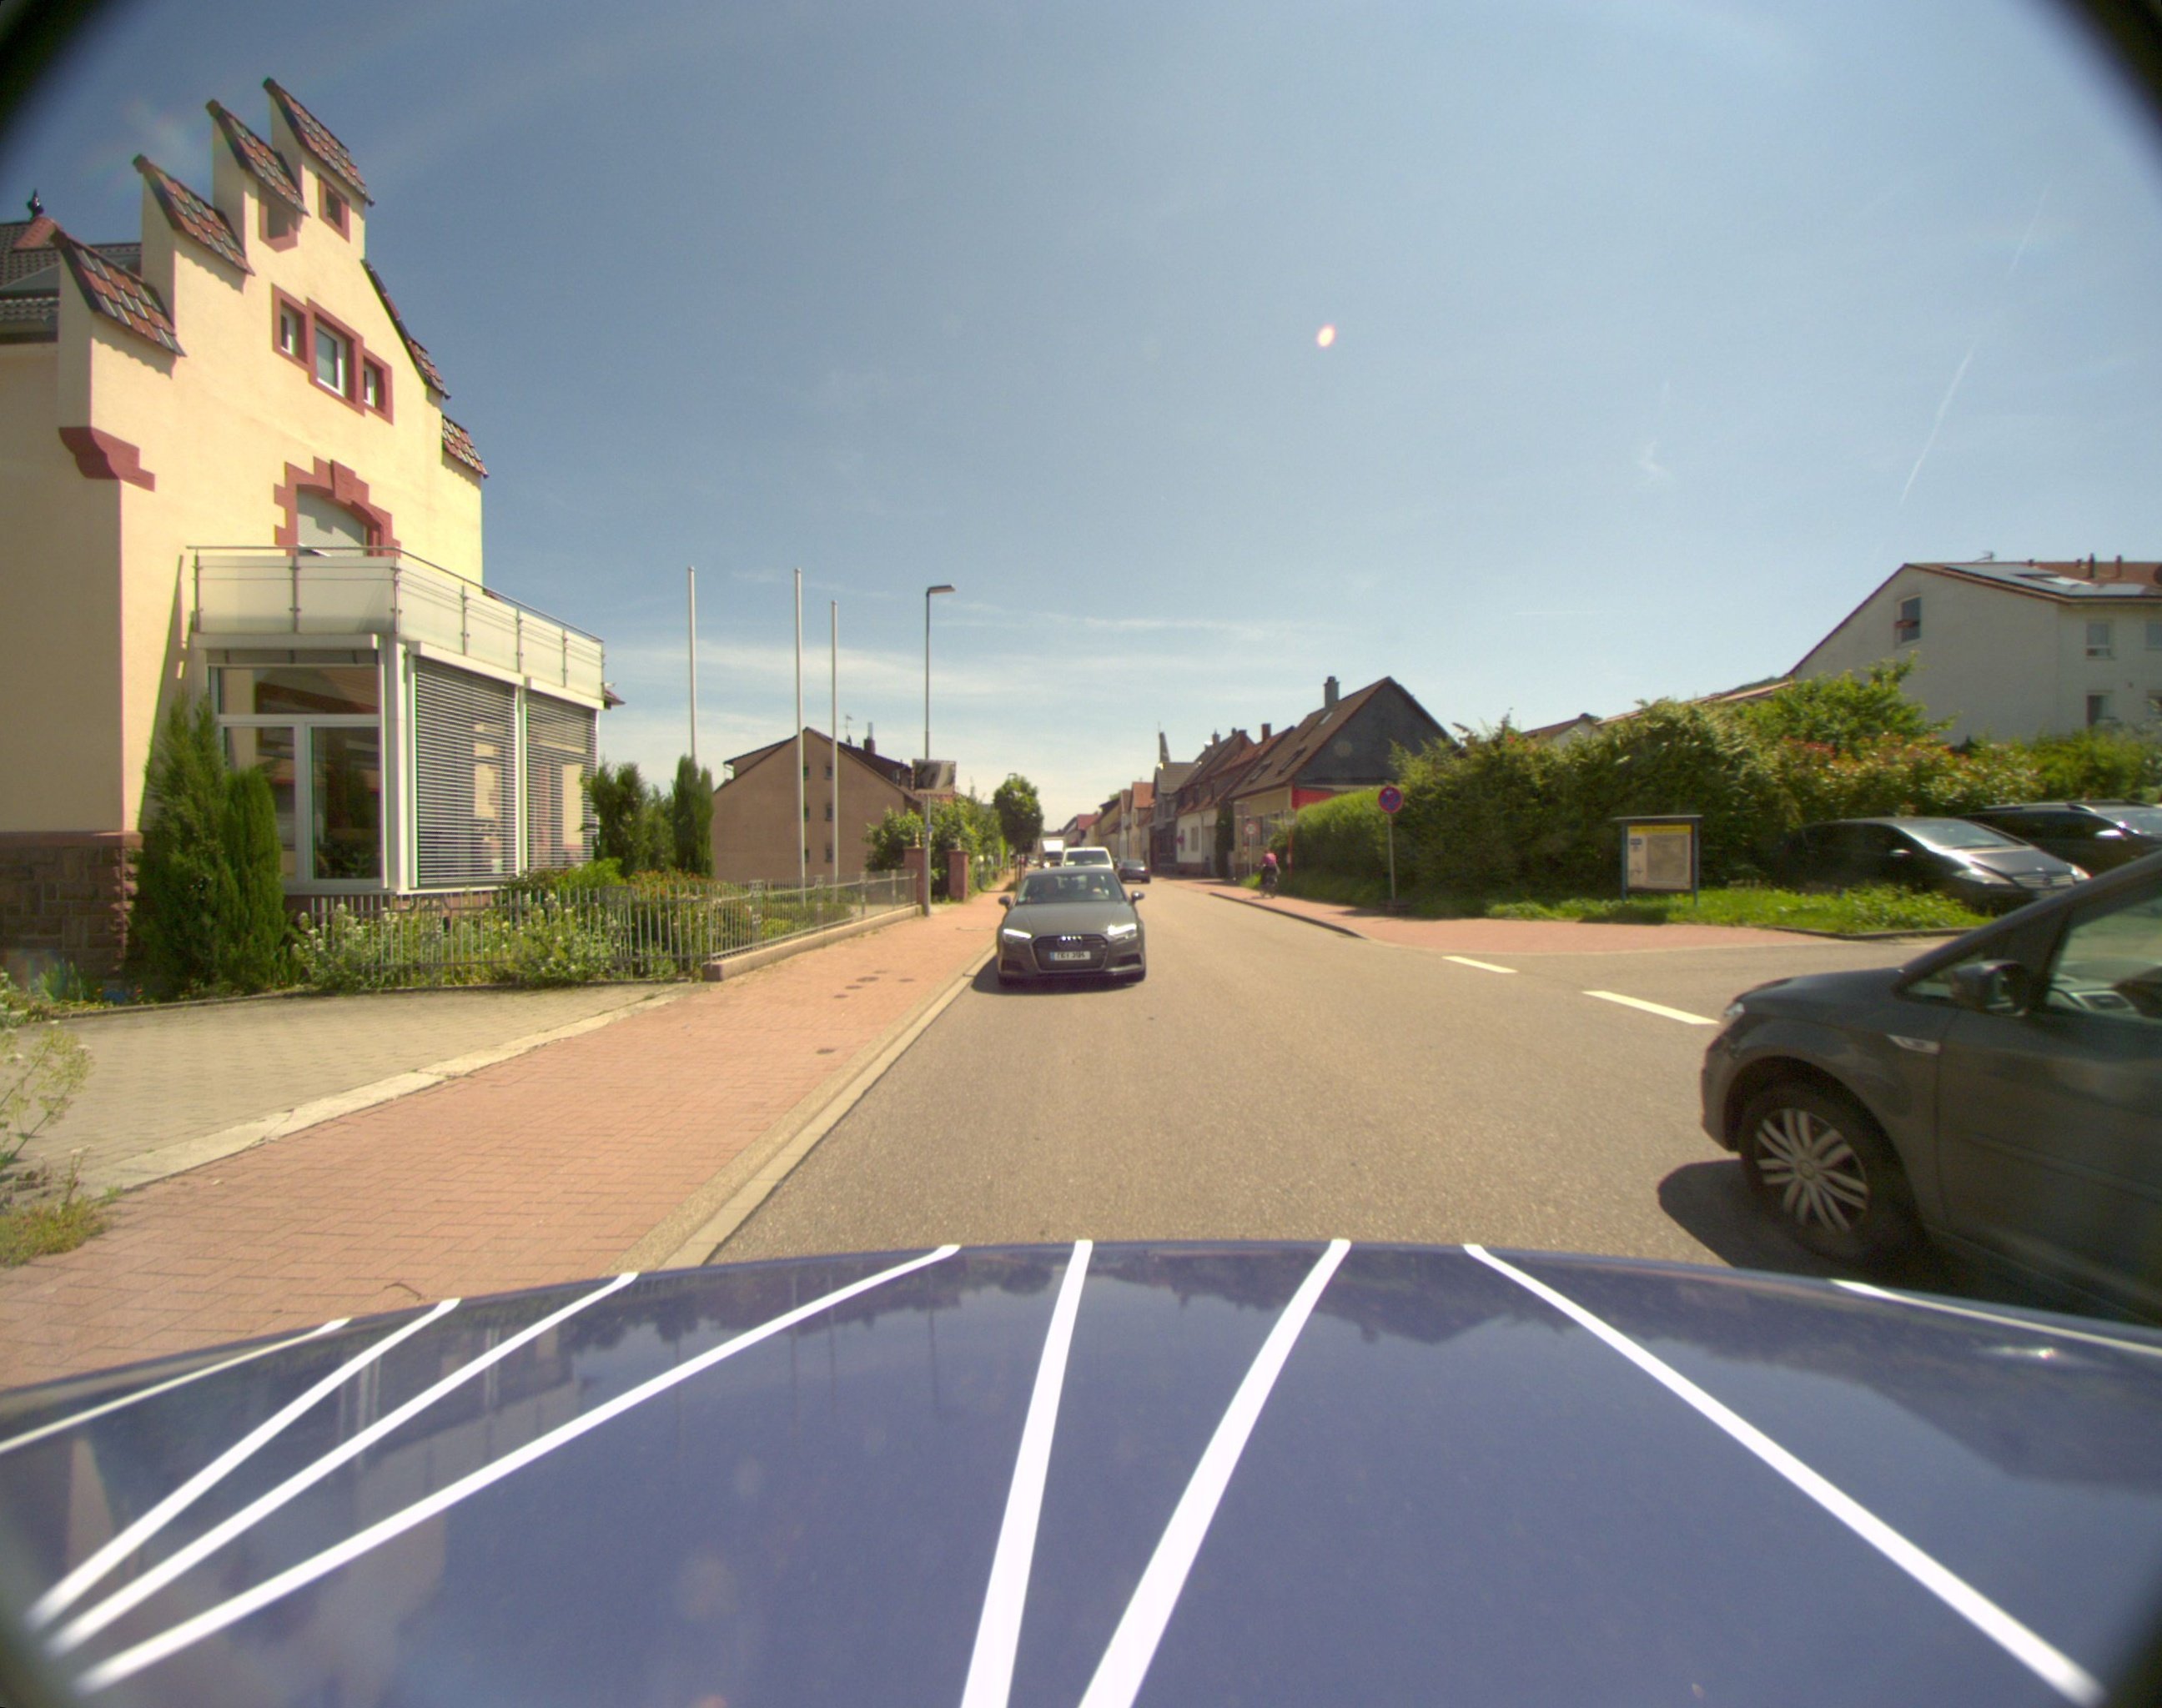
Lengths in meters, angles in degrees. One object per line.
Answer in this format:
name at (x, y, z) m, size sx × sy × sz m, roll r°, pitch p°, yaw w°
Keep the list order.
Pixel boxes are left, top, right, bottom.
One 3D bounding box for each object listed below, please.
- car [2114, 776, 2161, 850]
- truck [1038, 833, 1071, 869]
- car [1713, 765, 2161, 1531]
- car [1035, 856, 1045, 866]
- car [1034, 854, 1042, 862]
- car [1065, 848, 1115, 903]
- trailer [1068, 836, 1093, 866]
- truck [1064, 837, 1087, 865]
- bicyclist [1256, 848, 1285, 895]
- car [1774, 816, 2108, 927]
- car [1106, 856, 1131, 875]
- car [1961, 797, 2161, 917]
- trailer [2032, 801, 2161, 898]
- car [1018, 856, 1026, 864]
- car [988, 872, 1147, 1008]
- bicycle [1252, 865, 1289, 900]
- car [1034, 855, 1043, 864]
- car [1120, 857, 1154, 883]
car at (27.208, -1.048, 17.995) m, size 3.639 × 1.724 × 1.420 m, roll -3°, pitch 1°, yaw -2°
truck at (-2.979, -0.304, 80.506) m, size 2.899 × 3.516 × 12.948 m, roll -1°, pitch 0°, yaw -4°
car at (3.421, 0.719, 0.905) m, size 1.660 × 1.844 × 4.464 m, roll 1°, pitch 0°, yaw 1°
car at (-6.895, 1.167, 128.353) m, size 1.508 × 1.432 × 3.534 m, roll -3°, pitch 1°, yaw -5°
car at (-9.060, 0.866, 160.249) m, size 1.508 × 1.432 × 3.534 m, roll -3°, pitch 1°, yaw -5°
car at (0.260, 0.718, 27.418) m, size 1.637 × 1.833 × 3.569 m, roll -1°, pitch 0°, yaw -1°
trailer at (-0.165, -0.354, 95.250) m, size 2.537 × 3.627 × 8.458 m, roll 0°, pitch 0°, yaw -4°
truck at (-0.788, -0.376, 104.500) m, size 2.574 × 3.679 × 10.074 m, roll 0°, pitch 0°, yaw -4°
bicyclist at (6.290, 0.564, 25.314) m, size 0.660 × 1.485 × 0.909 m, roll -3°, pitch 1°, yaw 0°
car at (14.222, 0.246, 12.928) m, size 1.627 × 1.532 × 3.652 m, roll -3°, pitch 0°, yaw 4°
car at (2.884, 0.860, 59.371) m, size 1.734 × 1.452 × 4.694 m, roll 0°, pitch 0°, yaw 0°
car at (16.978, -0.002, 12.220) m, size 1.627 × 1.769 × 3.511 m, roll -3°, pitch 0°, yaw 4°
trailer at (19.490, -0.107, 13.600) m, size 1.430 × 1.654 × 2.691 m, roll -5°, pitch 0°, yaw -4°
car at (-11.674, 1.153, 150.223) m, size 1.637 × 1.572 × 3.568 m, roll 1°, pitch 0°, yaw -4°
car at (-0.157, 0.994, 10.360) m, size 1.705 × 1.346 × 4.000 m, roll -2°, pitch 0°, yaw 0°
bicycle at (6.320, 0.921, 25.437) m, size 0.672 × 1.050 × 2.026 m, roll -3°, pitch 0°, yaw 0°
car at (-8.039, 1.020, 144.197) m, size 1.508 × 1.432 × 3.534 m, roll -3°, pitch 1°, yaw -5°
car at (3.208, 0.908, 44.229) m, size 1.710 × 1.362 × 3.868 m, roll 2°, pitch 0°, yaw 1°
